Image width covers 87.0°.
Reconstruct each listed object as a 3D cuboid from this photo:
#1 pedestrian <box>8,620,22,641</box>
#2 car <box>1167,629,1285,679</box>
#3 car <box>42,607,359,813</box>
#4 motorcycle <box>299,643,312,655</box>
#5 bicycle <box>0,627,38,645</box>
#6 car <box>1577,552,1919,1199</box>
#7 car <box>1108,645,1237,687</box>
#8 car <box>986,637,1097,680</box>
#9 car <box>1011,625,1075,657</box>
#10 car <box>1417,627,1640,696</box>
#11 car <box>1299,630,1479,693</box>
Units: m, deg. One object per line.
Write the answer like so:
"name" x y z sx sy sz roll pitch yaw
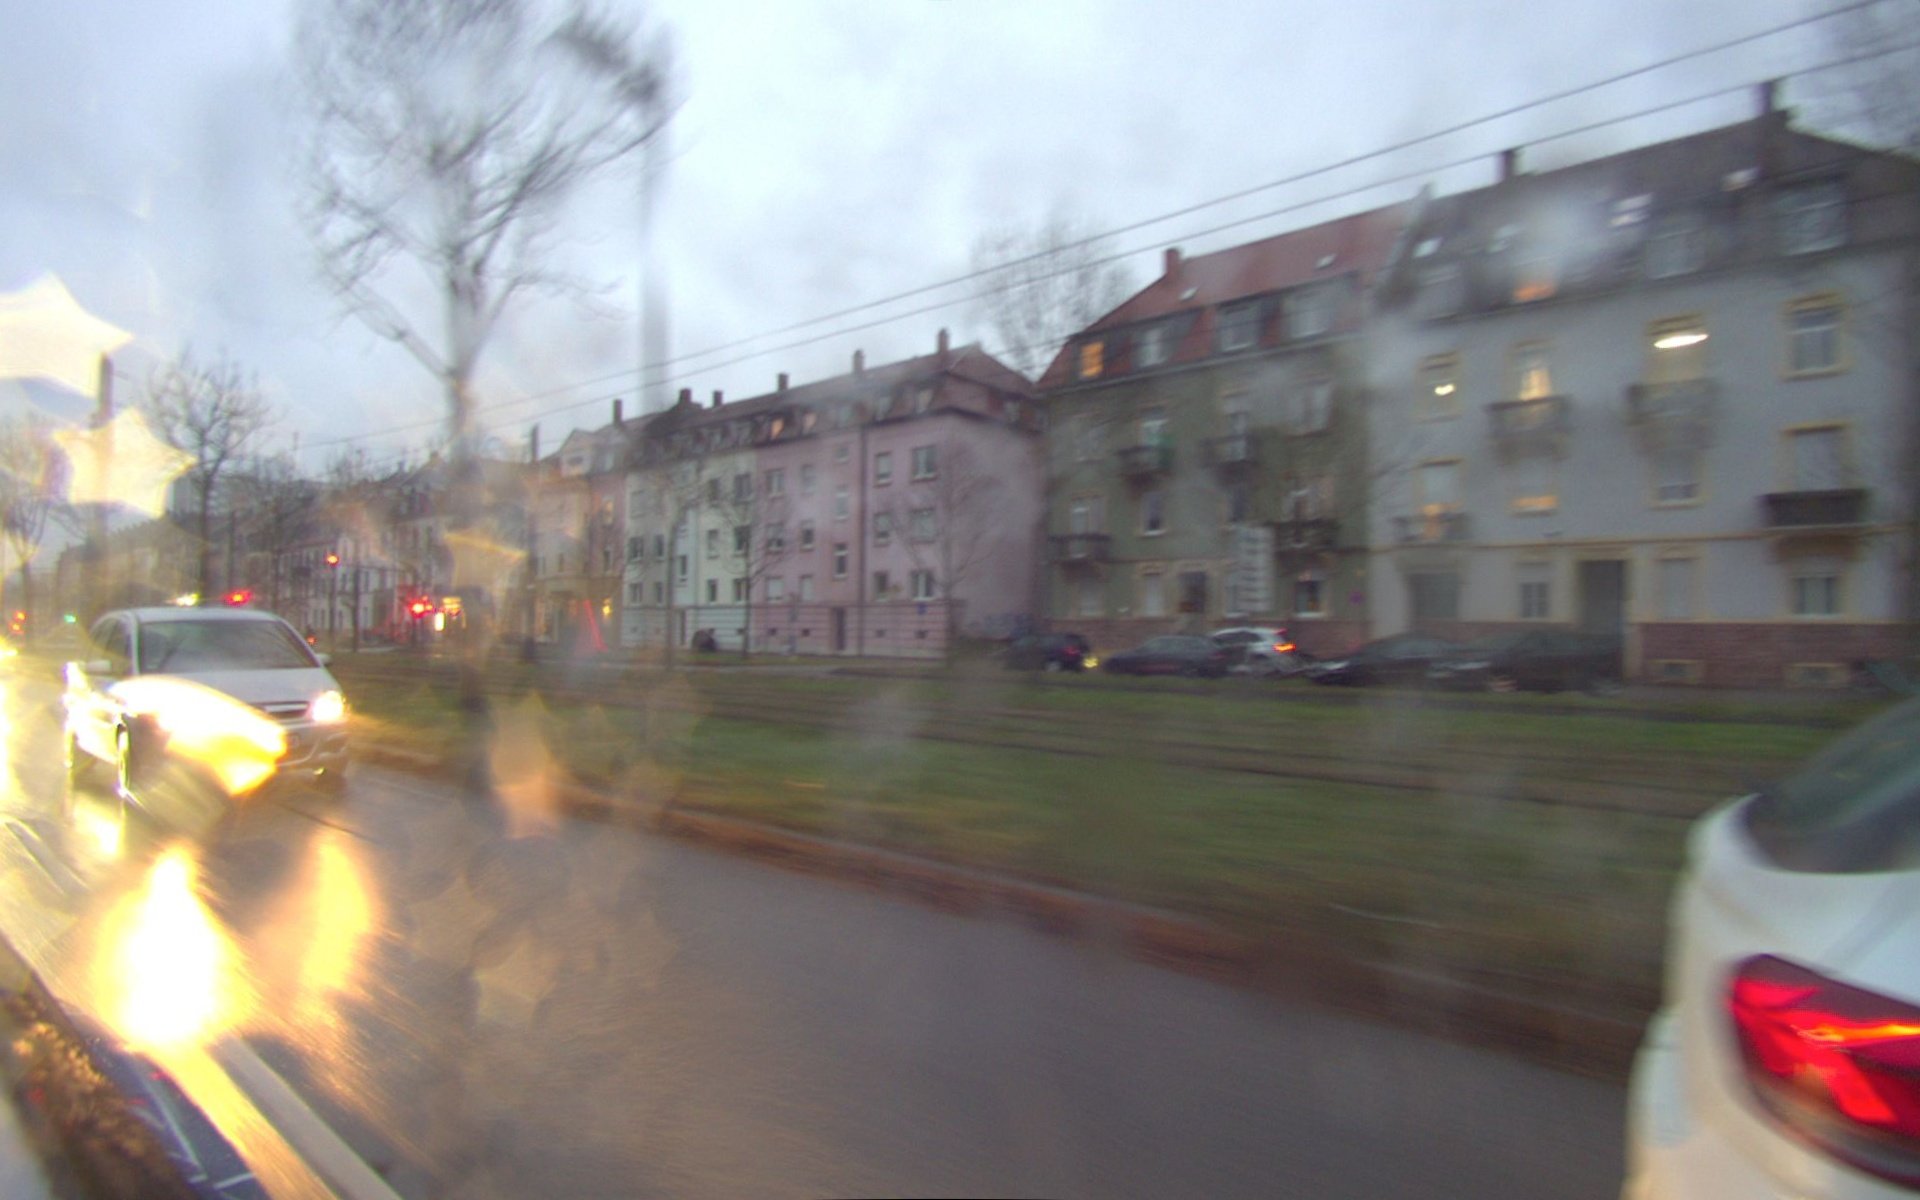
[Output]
"pedestrian" -52.901 1.681 56.650 0.583 1.165 0.555 -1 -1 45
"car" 9.090 1.813 34.678 3.537 1.563 1.662 -1 -1 41
"car" -7.248 0.856 9.517 3.905 1.531 1.617 -1 -1 41
"motorcycle" -38.846 2.905 60.064 0.416 0.688 1.177 0 -1 -42
"bicycle" -52.902 2.015 56.740 0.733 0.905 1.703 0 -4 41
"car" 2.707 0.676 0.387 3.999 1.485 1.671 -1 -1 41
"car" 6.737 2.059 32.300 3.894 1.177 1.218 -1 -1 38
"car" 2.862 2.053 36.106 3.911 1.350 1.449 -1 -1 44
"car" 4.363 2.105 52.928 1.611 1.555 3.317 -1 -1 42
"car" 13.400 1.414 23.923 4.586 1.443 1.698 -1 -1 -12
"car" 11.126 1.564 26.375 3.888 1.459 1.823 -1 0 -9
